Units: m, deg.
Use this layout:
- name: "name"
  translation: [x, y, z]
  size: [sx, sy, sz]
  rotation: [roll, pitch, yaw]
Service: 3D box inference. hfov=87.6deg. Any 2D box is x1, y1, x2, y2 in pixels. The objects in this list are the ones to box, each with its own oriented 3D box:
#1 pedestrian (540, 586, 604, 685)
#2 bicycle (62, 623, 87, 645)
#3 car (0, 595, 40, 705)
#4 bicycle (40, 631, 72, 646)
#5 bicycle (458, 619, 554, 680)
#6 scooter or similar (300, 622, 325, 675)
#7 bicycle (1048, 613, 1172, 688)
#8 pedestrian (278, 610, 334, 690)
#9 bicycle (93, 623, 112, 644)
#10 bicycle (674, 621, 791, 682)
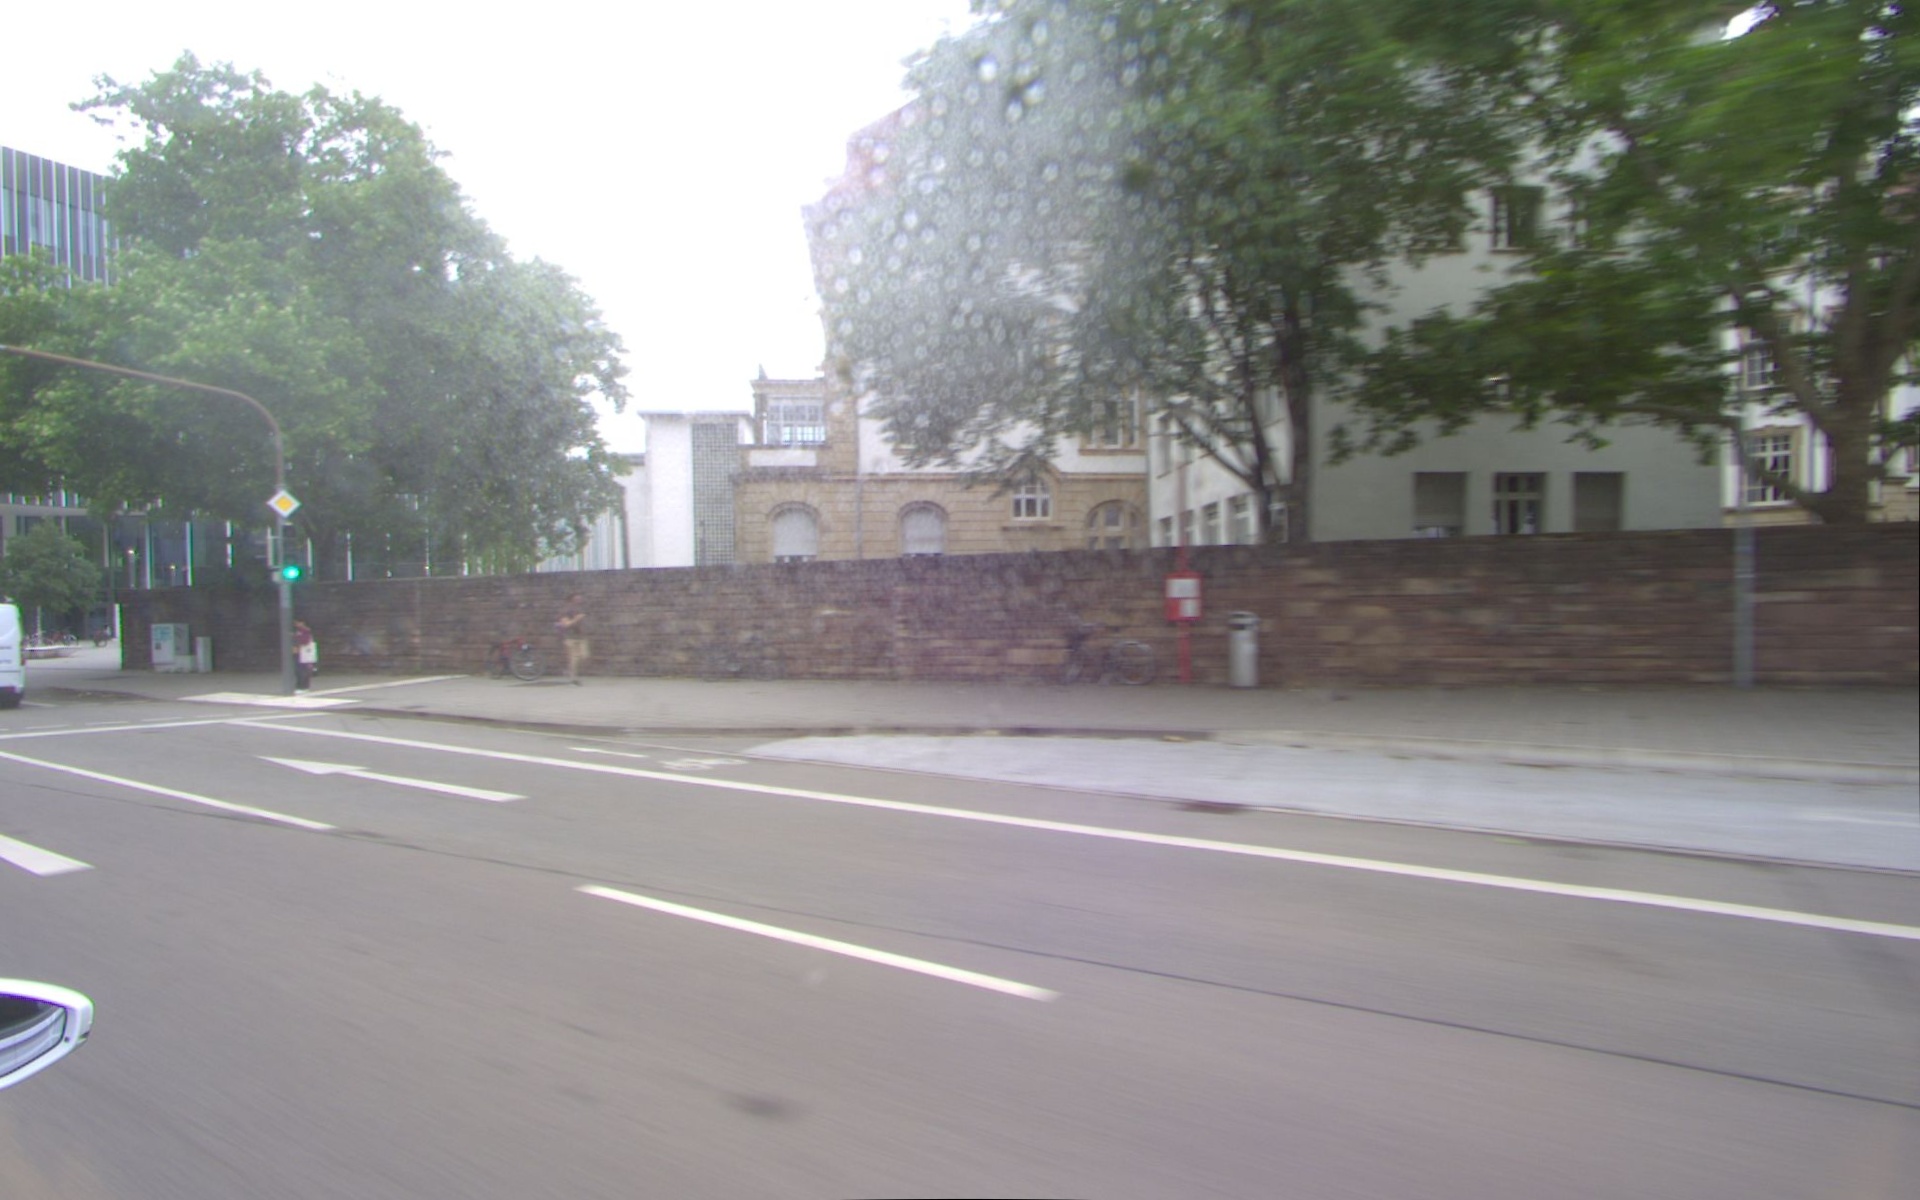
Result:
- name: "pedestrian"
  translation: [-7.502, 0.671, 19.367]
  size: [1.018, 1.846, 0.629]
  rotation: [0, 2, 33]
- name: "bicycle"
  translation: [-47.790, 1.826, 54.063]
  size: [0.801, 1.070, 1.934]
  rotation: [-2, 2, -37]
- name: "car"
  translation: [-19.520, 0.918, 19.007]
  size: [4.281, 1.997, 1.963]
  rotation: [-1, -2, 32]
- name: "bicycle"
  translation: [-48.924, 2.065, 54.200]
  size: [0.510, 0.726, 1.525]
  rotation: [-1, 1, -10]
- name: "bicycle"
  translation: [-9.663, 1.036, 21.315]
  size: [1.924, 1.190, 0.802]
  rotation: [-1, 3, 28]
- name: "scooter or similar"
  translation: [-15.966, 1.175, 24.708]
  size: [0.427, 1.195, 1.693]
  rotation: [-3, 2, -32]
- name: "bicycle"
  translation: [2.473, 0.817, 16.473]
  size: [1.889, 1.143, 0.849]
  rotation: [-1, 2, 18]
- name: "pedestrian"
  translation: [-13.549, 1.019, 20.756]
  size: [0.627, 1.584, 0.658]
  rotation: [0, 5, 33]
- name: "bicycle"
  translation: [-46.536, 1.787, 54.329]
  size: [0.616, 1.070, 1.934]
  rotation: [-2, 2, -37]
- name: "bicycle"
  translation: [-4.345, 0.981, 19.164]
  size: [1.935, 1.088, 0.941]
  rotation: [-1, 2, 18]
